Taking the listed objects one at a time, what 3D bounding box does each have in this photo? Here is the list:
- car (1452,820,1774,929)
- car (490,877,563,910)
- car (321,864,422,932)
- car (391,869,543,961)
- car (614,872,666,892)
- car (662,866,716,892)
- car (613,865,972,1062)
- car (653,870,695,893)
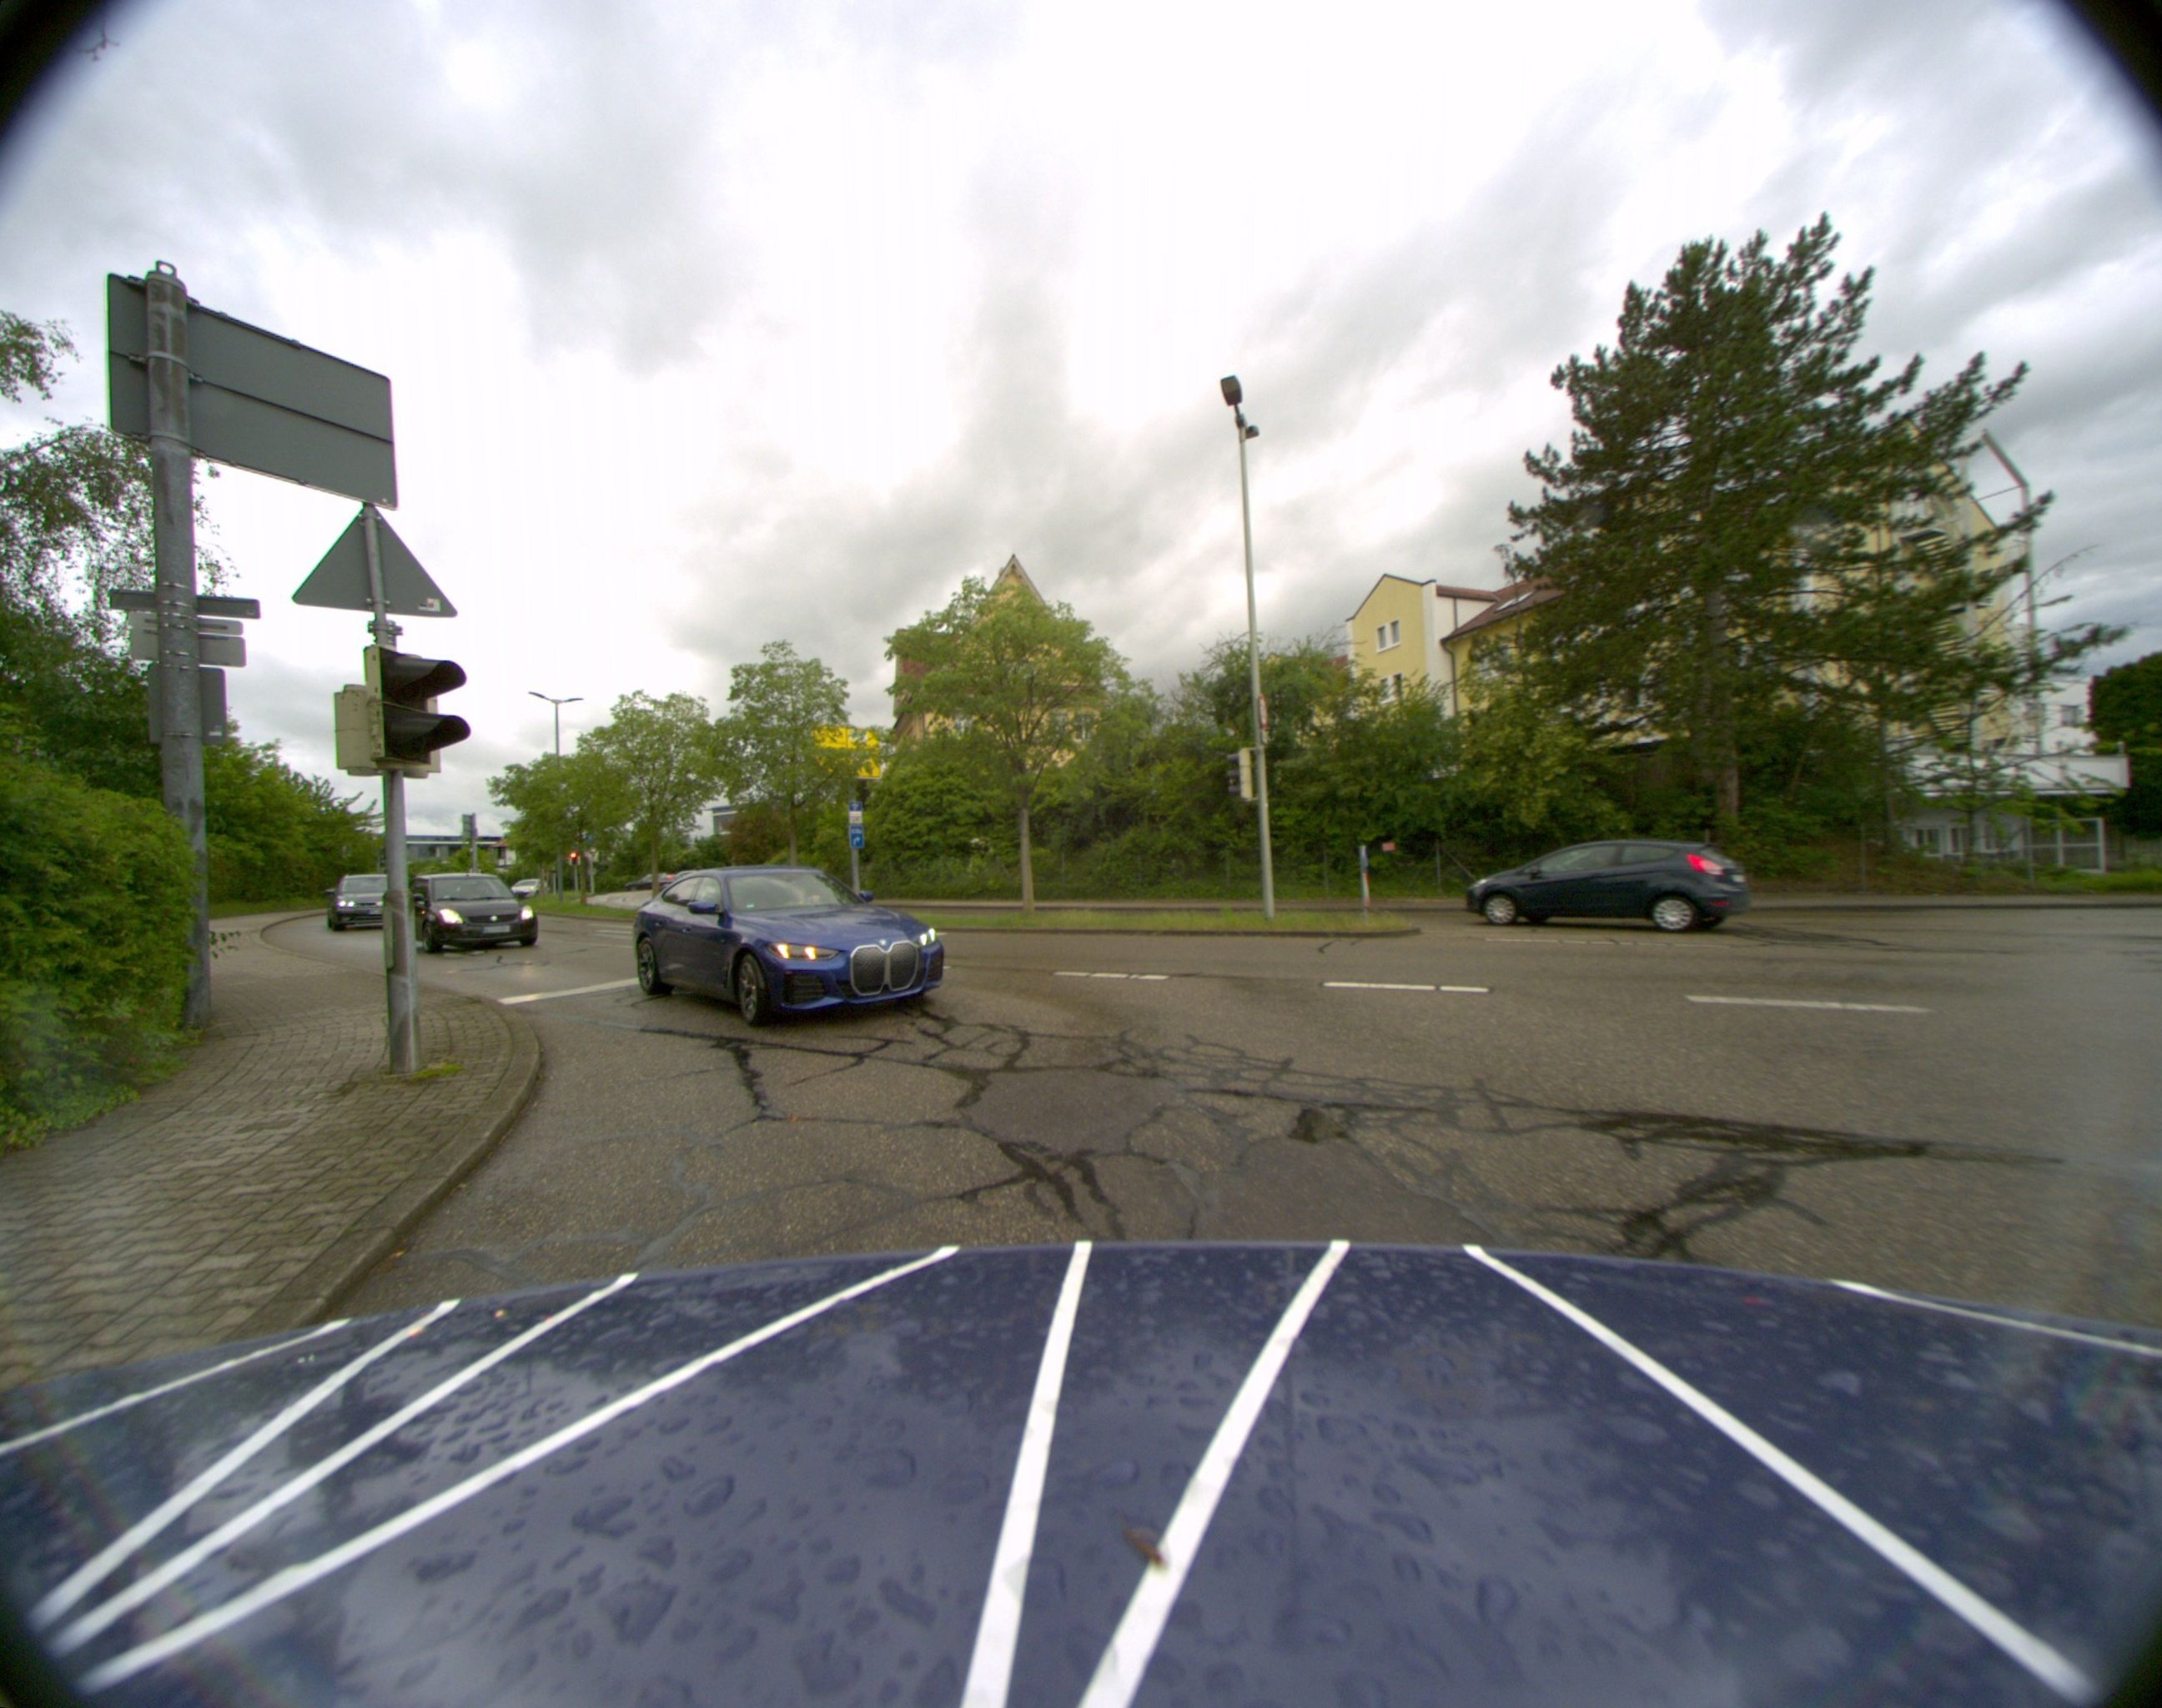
[{"bbox_3d":[8.694,0.281,12.742,1.929,1.492,3.990,-3,1,-35],"label":"car"},{"bbox_3d":[-38.543,2.703,52.917,1.911,1.914,4.000,-5,0,1],"label":"car"},{"bbox_3d":[-21.589,1.354,23.089,1.972,1.739,4.297,-5,0,-45],"label":"car"},{"bbox_3d":[-12.602,1.128,15.511,3.988,1.511,1.750,-1,3,43],"label":"car"},{"bbox_3d":[-43.591,2.765,75.195,4.002,1.620,1.932,-5,0,-17],"label":"car"},{"bbox_3d":[-36.190,2.266,70.157,4.006,2.002,1.996,-5,0,-35],"label":"car"},{"bbox_3d":[-3.338,0.924,8.301,4.336,1.487,1.918,-1,2,44],"label":"car"},{"bbox_3d":[-28.067,1.911,52.529,2.002,1.429,4.541,-4,-1,-23],"label":"car"}]
